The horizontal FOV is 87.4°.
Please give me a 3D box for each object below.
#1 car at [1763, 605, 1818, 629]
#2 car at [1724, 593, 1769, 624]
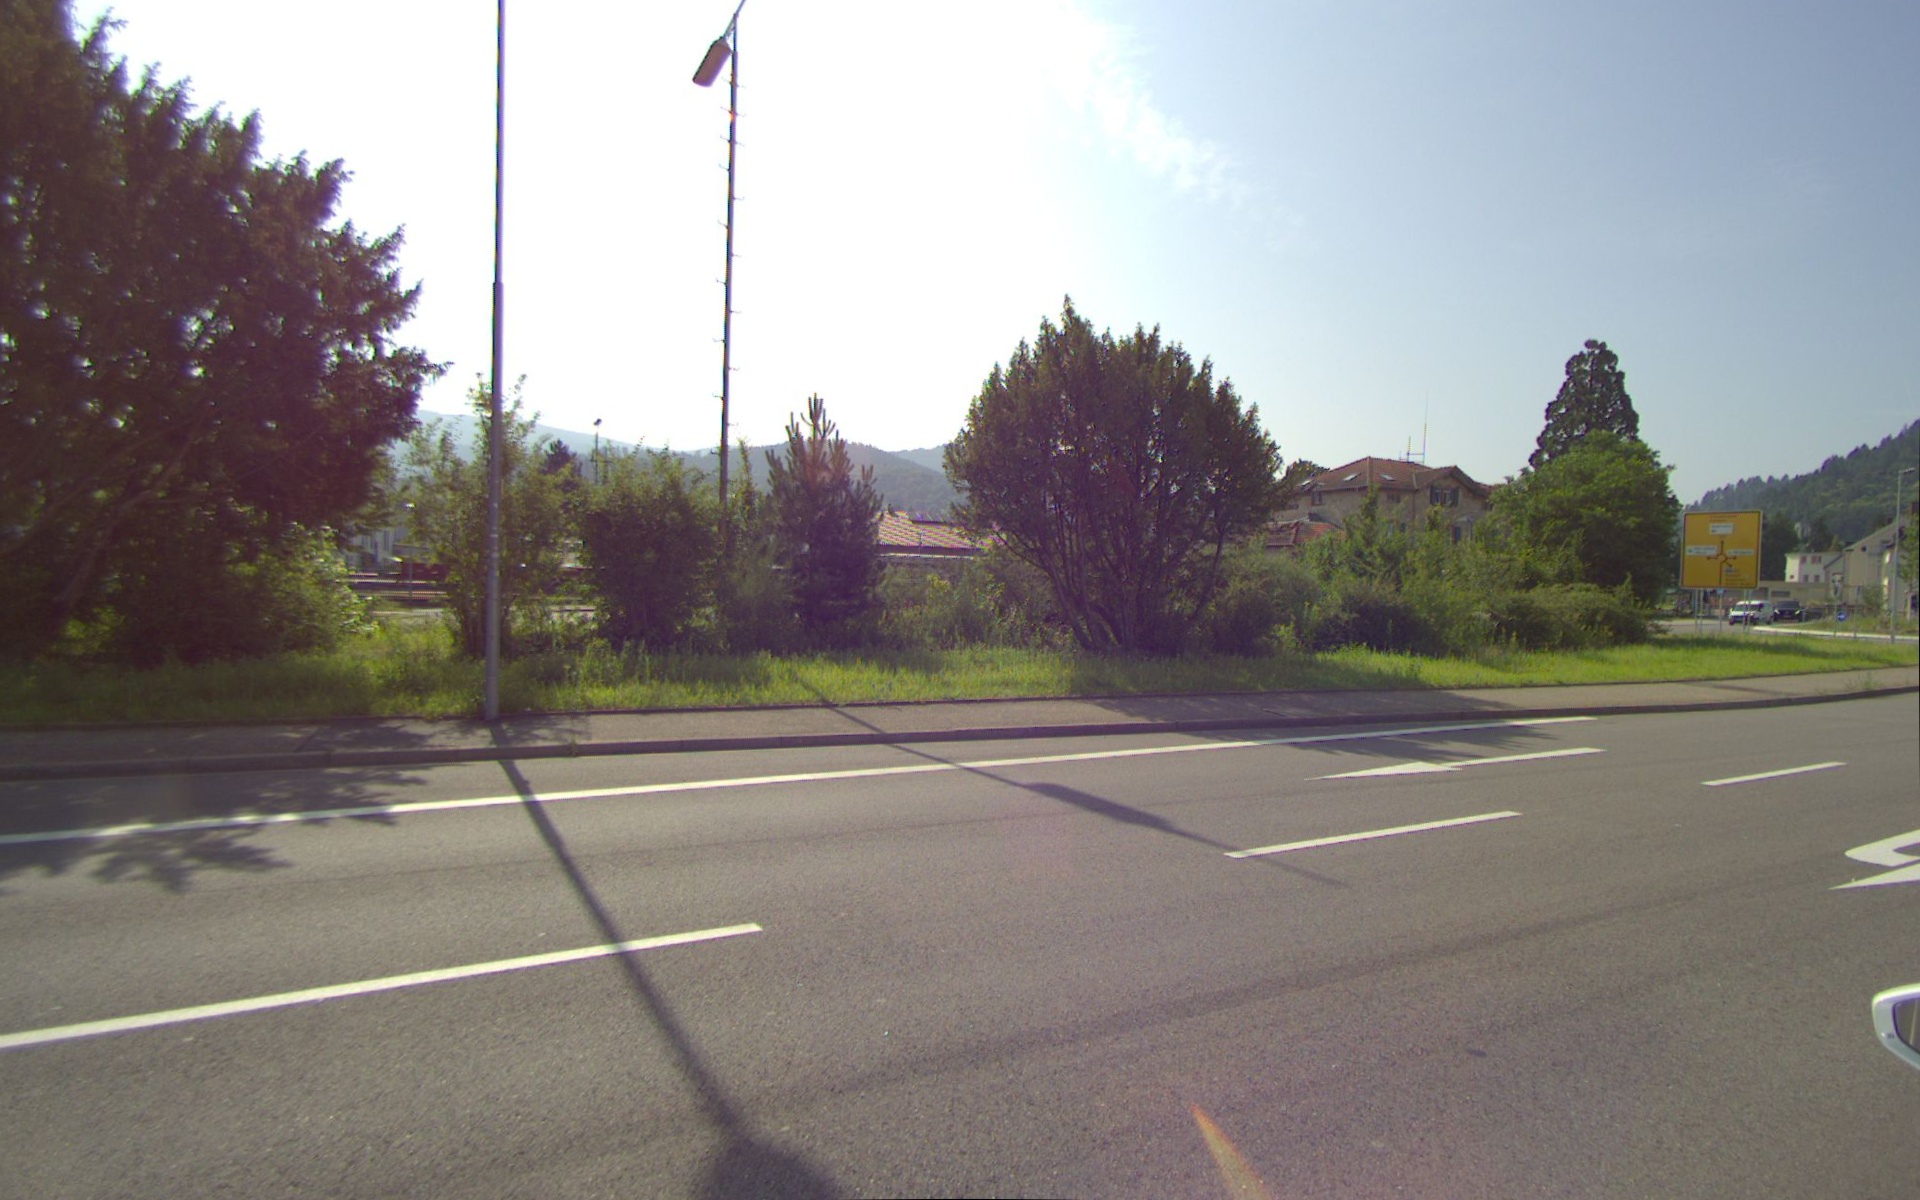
[{"bbox_3d":[72.435,1.520,87.642,4.817,1.972,1.834,1,0,-26],"label":"car"},{"bbox_3d":[60.489,0.636,77.239,4.567,2.106,1.790,-3,4,-41],"label":"car"}]
